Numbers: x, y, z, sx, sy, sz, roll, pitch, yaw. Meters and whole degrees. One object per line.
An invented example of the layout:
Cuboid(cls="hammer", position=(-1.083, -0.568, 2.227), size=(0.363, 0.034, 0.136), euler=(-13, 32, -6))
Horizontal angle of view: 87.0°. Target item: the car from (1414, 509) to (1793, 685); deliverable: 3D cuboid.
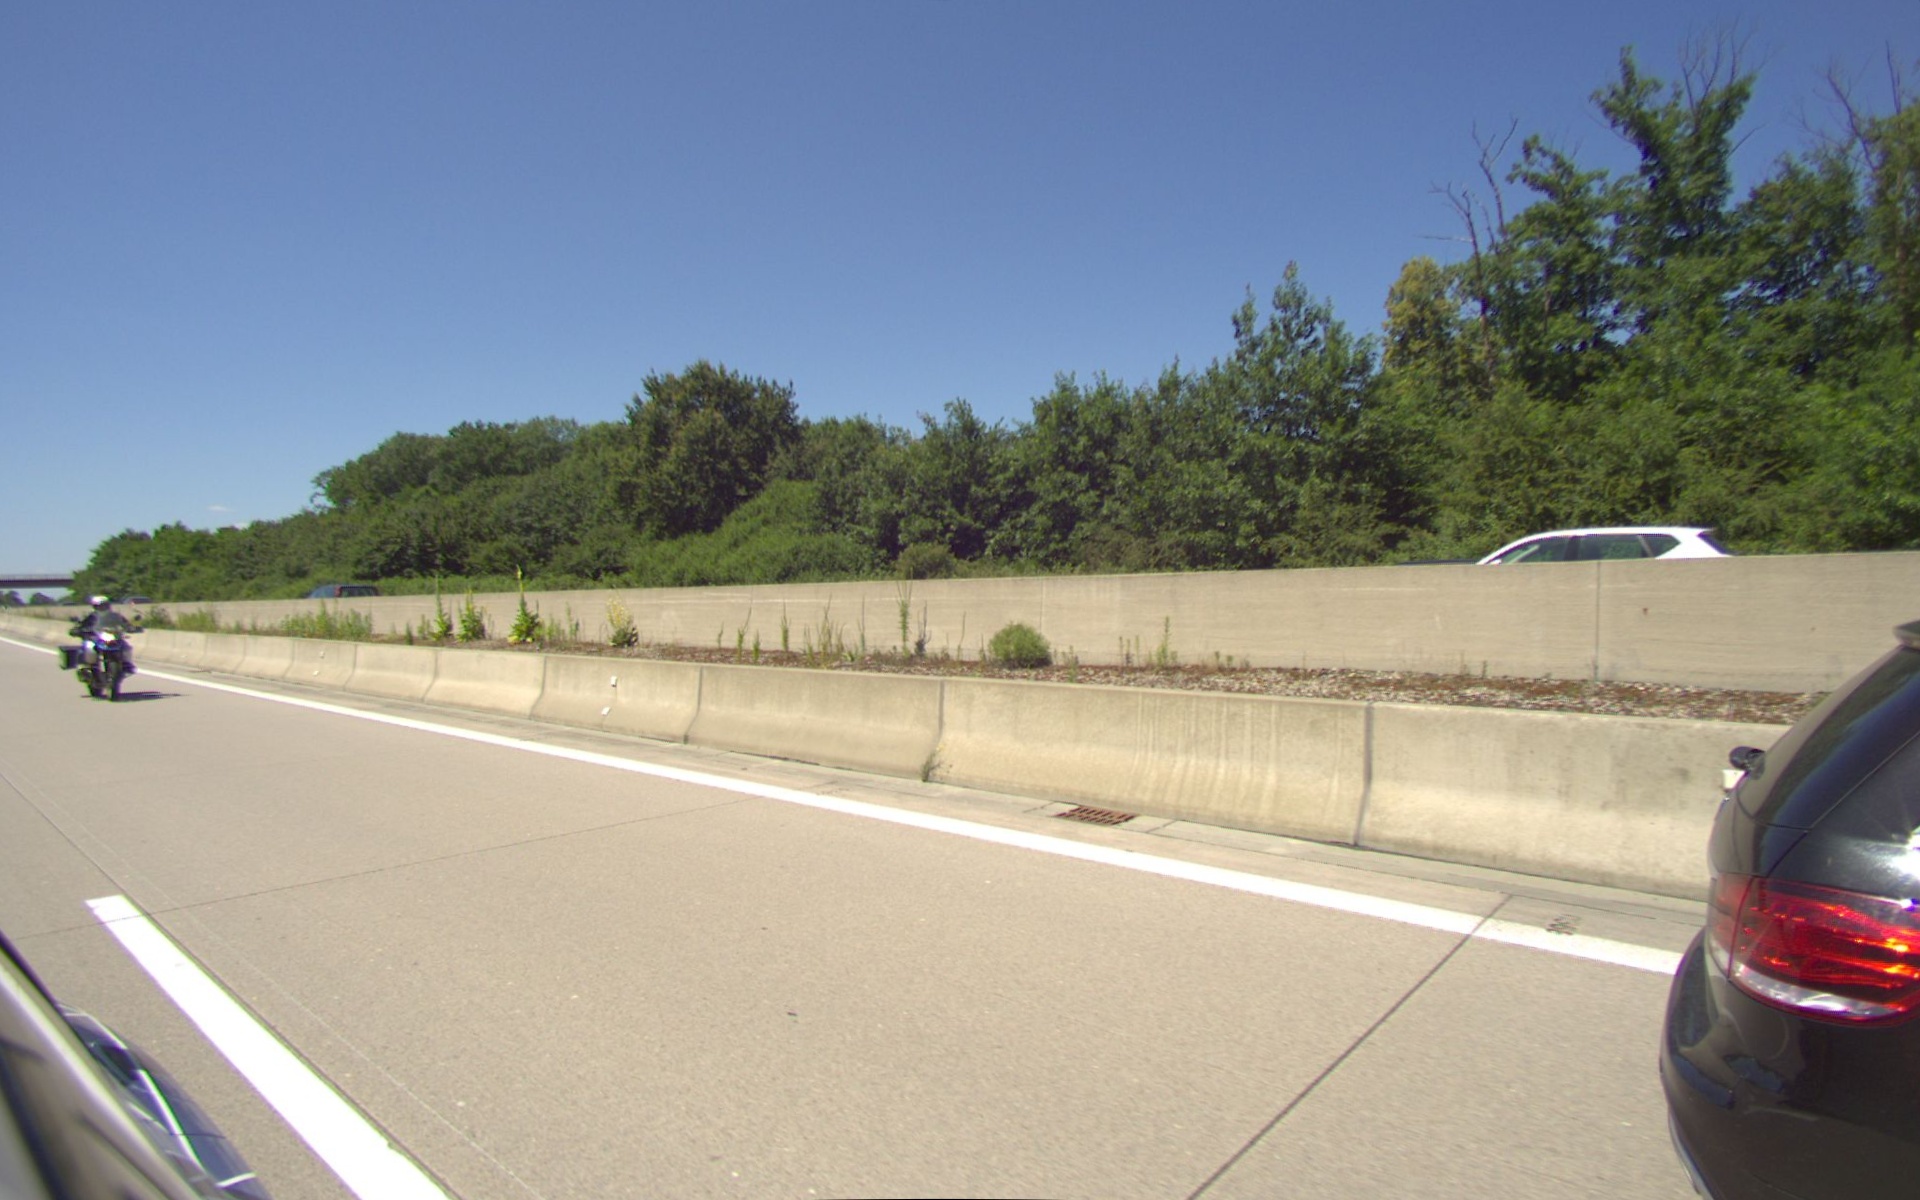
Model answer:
Cuboid(cls="car", position=(8.526, -0.014, 13.628), size=(4.101, 2.029, 1.617), euler=(-1, -1, 41))

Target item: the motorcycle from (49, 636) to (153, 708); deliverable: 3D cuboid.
Cuboid(cls="motorcycle", position=(-14.200, 1.153, 16.703), size=(2.412, 1.056, 1.010), euler=(-2, 0, 43))

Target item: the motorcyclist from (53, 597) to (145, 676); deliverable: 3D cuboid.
Cuboid(cls="motorcyclist", position=(-14.186, 0.584, 16.678), size=(0.911, 1.218, 1.014), euler=(-2, 0, 42))

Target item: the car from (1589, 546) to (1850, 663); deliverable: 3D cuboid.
Cuboid(cls="car", position=(12.311, 0.092, 16.520), size=(3.271, 1.728, 1.417), euler=(-1, -1, 41))

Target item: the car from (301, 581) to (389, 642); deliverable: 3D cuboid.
Cuboid(cls="car", position=(-21.607, 0.413, 35.501), size=(3.650, 2.029, 1.619), euler=(-1, -1, 41))

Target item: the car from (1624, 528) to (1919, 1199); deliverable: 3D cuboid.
Cuboid(cls="car", position=(3.899, 0.586, 0.665), size=(5.599, 1.484, 1.871), euler=(-2, -2, 40))

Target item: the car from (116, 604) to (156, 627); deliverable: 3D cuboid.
Cuboid(cls="car", position=(-65.852, 1.221, 80.862), size=(4.216, 1.683, 1.781), euler=(-1, 1, 41))
